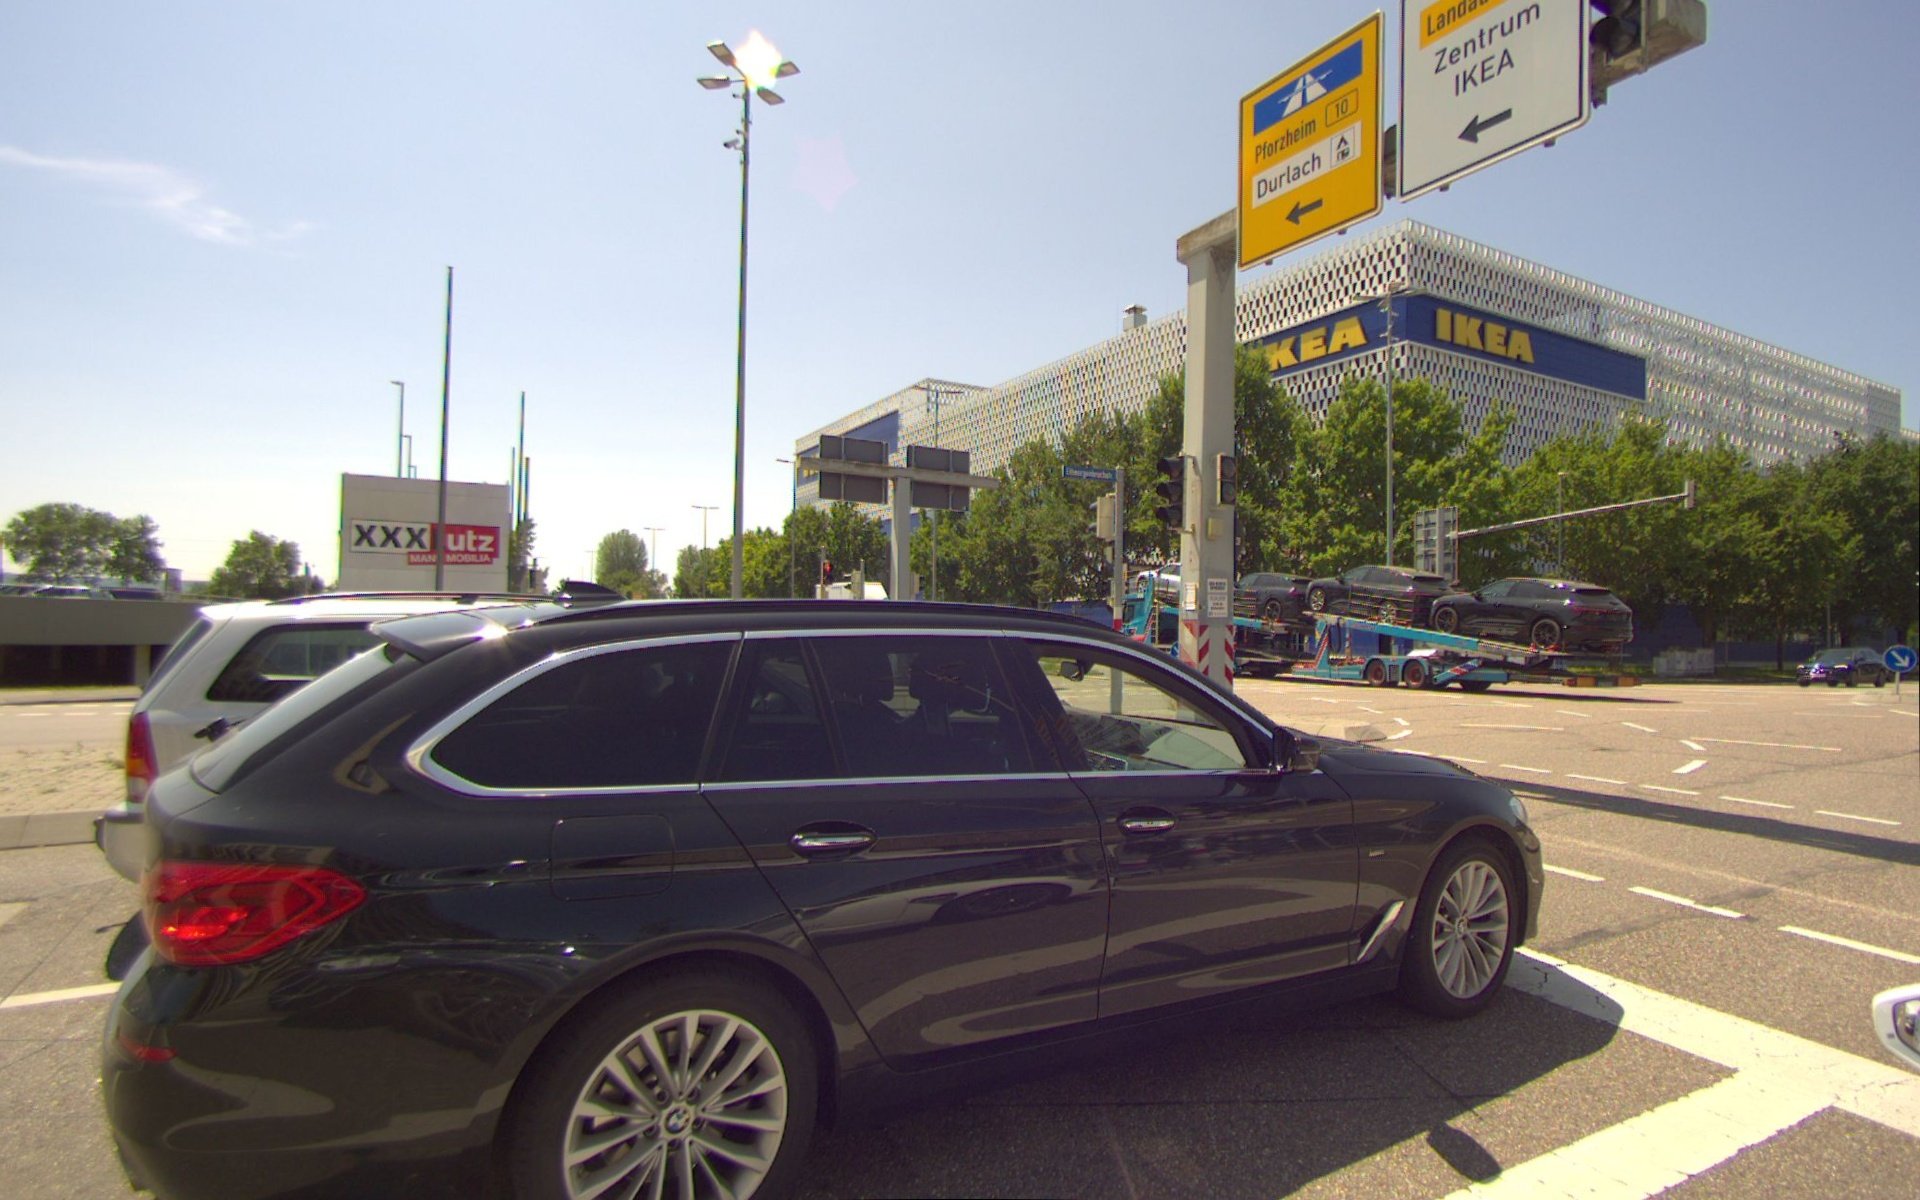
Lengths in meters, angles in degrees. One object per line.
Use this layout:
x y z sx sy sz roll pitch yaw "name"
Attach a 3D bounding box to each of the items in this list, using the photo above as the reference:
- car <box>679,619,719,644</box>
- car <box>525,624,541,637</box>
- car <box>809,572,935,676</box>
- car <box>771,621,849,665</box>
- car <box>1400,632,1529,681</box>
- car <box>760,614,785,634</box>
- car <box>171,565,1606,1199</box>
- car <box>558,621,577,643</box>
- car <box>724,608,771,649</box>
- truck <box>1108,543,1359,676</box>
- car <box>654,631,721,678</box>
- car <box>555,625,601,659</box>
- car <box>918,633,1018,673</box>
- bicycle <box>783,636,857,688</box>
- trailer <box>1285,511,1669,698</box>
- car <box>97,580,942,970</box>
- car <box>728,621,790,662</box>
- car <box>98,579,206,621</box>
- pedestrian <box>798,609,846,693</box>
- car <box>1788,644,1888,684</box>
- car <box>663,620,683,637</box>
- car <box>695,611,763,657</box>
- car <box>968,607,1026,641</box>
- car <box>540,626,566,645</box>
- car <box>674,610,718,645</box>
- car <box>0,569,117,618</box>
-20.371 2.449 78.264 1.975 1.930 4.778 1 -2 -28 "car"
-69.237 4.984 162.796 1.906 2.040 3.971 2 -2 -28 "car"
-3.448 0.881 37.638 2.156 3.532 6.875 0 -1 -28 "car"
-6.810 1.904 45.004 1.973 1.835 5.438 2 -2 -25 "car"
21.967 2.460 43.878 4.672 2.034 2.000 1 -2 -2 "car"
-19.435 2.516 103.962 1.858 2.040 3.983 2 -2 -19 "car"
0.194 0.741 3.635 4.570 1.485 1.791 2 -1 -31 "car"
-37.525 3.044 96.078 1.595 2.040 3.863 1 -2 -20 "car"
-14.423 1.918 67.932 2.032 2.665 4.652 1 -2 -26 "car"
9.439 0.442 36.607 3.056 4.136 10.597 1 -2 -22 "truck"
-9.518 1.850 34.847 1.904 1.528 3.983 1 -2 -20 "car"
-24.073 2.637 63.274 1.815 2.040 3.963 2 -2 -34 "car"
0.222 1.897 36.651 1.756 1.360 4.262 1 -2 -30 "car"
-3.513 1.518 25.079 0.987 1.229 2.079 2 -2 -35 "bicycle"
13.265 0.242 27.208 3.050 4.135 9.593 1 -2 -22 "trailer"
-2.238 0.737 5.797 3.961 1.514 1.785 2 -1 -36 "car"
-10.651 2.195 52.975 1.975 2.040 4.681 2 -2 -27 "car"
-40.361 0.020 50.312 3.956 1.933 1.983 2 -2 -32 "car"
-3.427 1.265 24.990 0.856 2.040 0.899 2 -2 -35 "pedestrian"
36.854 2.682 42.157 4.444 1.619 1.866 2 -3 -30 "car"
-35.111 3.526 122.790 1.971 2.040 3.979 2 -3 -22 "car"
-13.879 2.049 60.013 2.542 2.568 6.587 2 -2 -26 "car"
2.274 1.469 63.011 1.975 2.040 3.972 2 -1 -27 "car"
-36.497 3.163 90.058 1.718 1.708 3.642 2 -2 -28 "car"
-18.217 1.898 69.006 1.972 2.318 5.848 2 -2 -24 "car"
-38.919 -0.241 43.010 3.953 1.957 1.984 2 -2 -30 "car"
